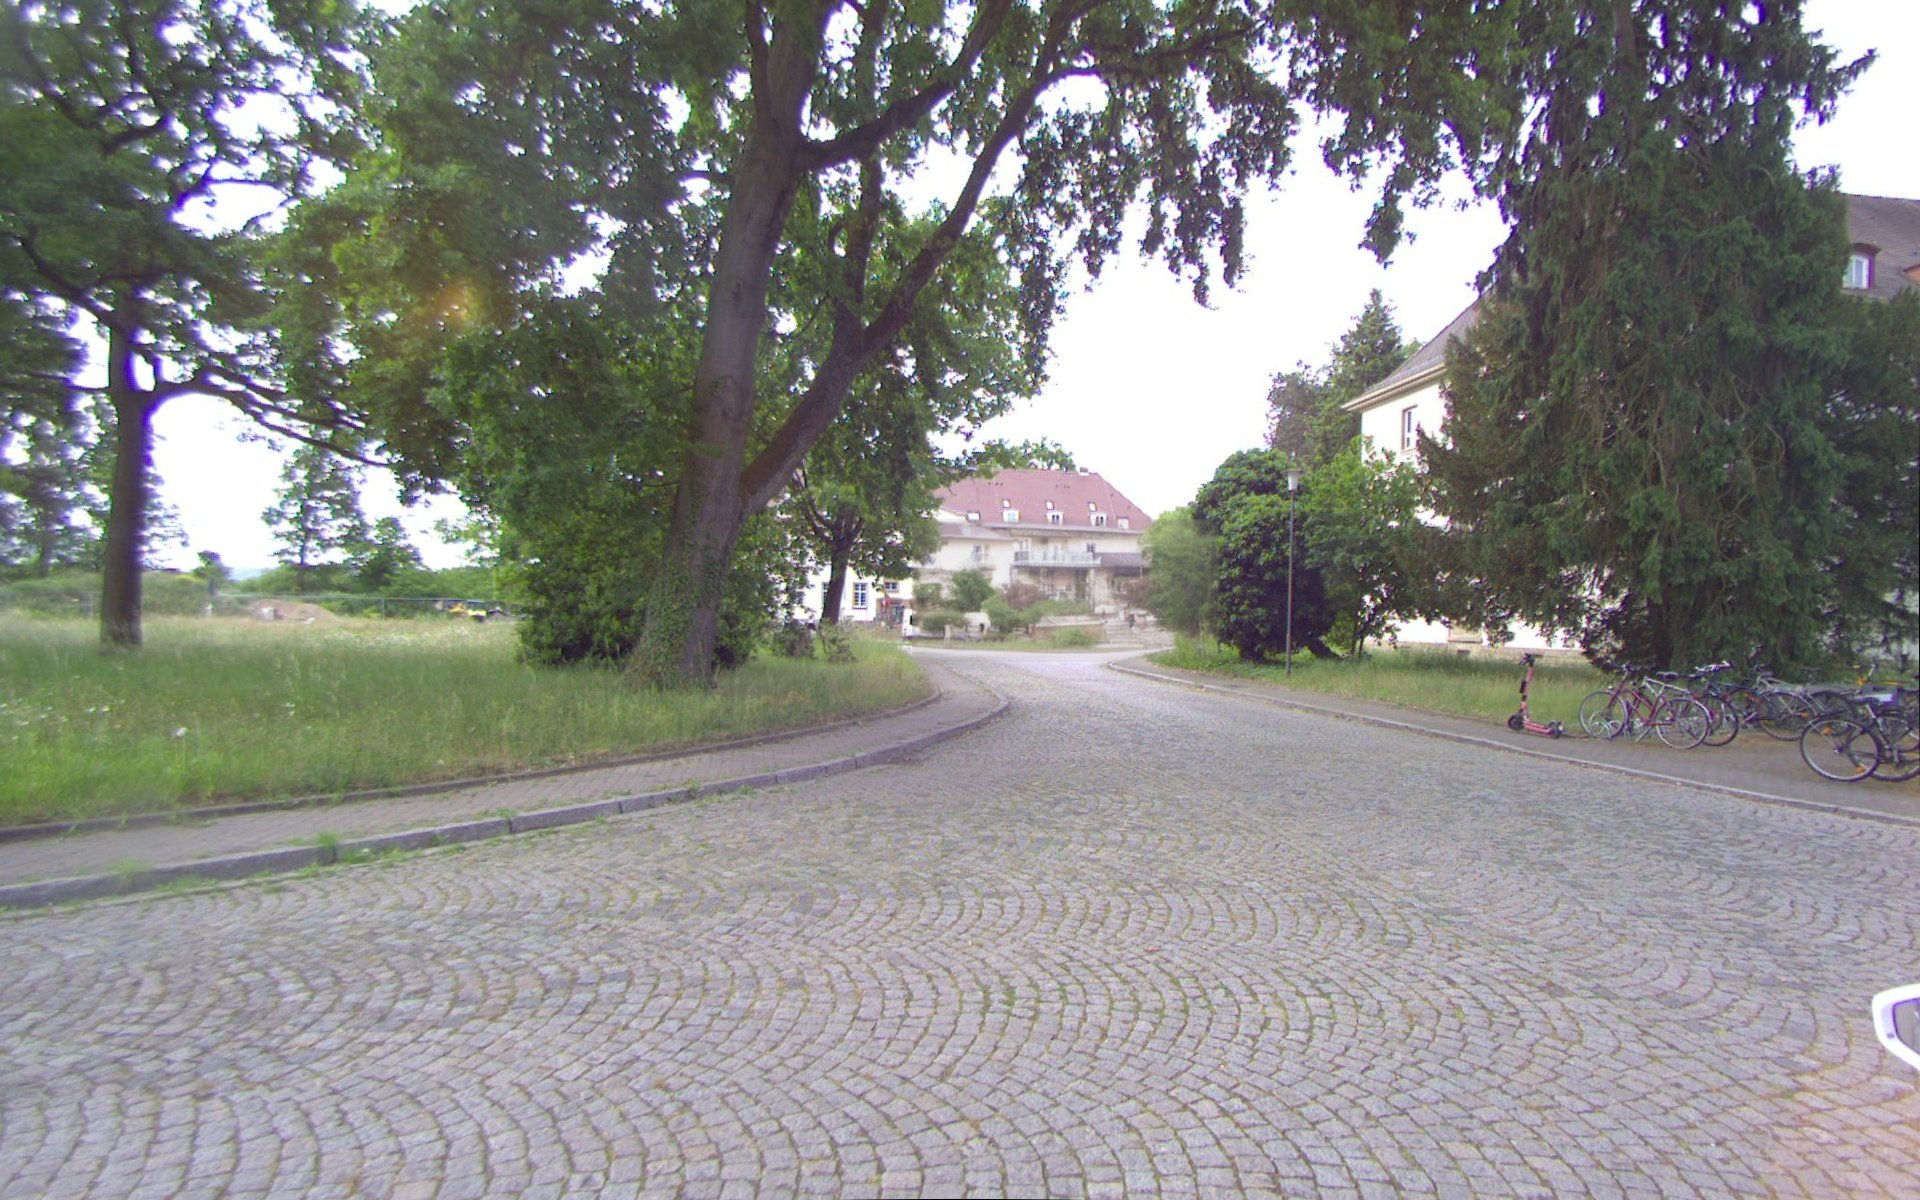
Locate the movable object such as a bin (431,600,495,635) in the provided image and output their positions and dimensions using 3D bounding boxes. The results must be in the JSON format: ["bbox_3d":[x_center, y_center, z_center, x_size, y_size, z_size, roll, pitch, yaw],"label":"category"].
[{"bbox_3d":[-38.432,1.372,77.659,5.255,2.590,1.995,0,-1,33],"label":"movable object such as a bin"}]

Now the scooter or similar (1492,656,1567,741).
[{"bbox_3d":[8.786,1.497,15.524,0.351,1.226,1.135,2,-1,-10],"label":"scooter or similar"}]

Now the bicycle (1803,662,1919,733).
[{"bbox_3d":[15.326,1.621,16.924,0.543,1.055,1.675,2,-1,-20],"label":"bicycle"}]

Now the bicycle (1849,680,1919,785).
[{"bbox_3d":[10.488,1.417,10.596,0.473,1.088,1.606,3,-3,-37],"label":"bicycle"}]

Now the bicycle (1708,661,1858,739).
[{"bbox_3d":[12.939,1.544,15.845,0.545,1.079,1.739,2,-1,-31],"label":"bicycle"}]

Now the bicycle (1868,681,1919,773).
[{"bbox_3d":[11.285,1.456,11.210,0.471,1.021,1.659,2,-3,-22],"label":"bicycle"}]

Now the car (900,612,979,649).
[{"bbox_3d":[-1.388,2.040,67.833,5.180,2.375,1.909,1,-1,-5],"label":"car"}]

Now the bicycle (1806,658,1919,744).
[{"bbox_3d":[14.064,1.517,15.342,0.542,1.186,1.749,2,-1,-14],"label":"bicycle"}]

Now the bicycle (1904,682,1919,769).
[{"bbox_3d":[11.870,1.476,11.388,0.471,1.021,1.659,2,-3,-22],"label":"bicycle"}]

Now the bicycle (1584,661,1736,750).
[{"bbox_3d":[10.153,1.494,14.646,0.544,1.129,1.794,2,-1,-24],"label":"bicycle"}]

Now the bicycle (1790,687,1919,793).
[{"bbox_3d":[9.793,1.466,10.541,0.473,1.021,1.606,3,-3,-37],"label":"bicycle"}]

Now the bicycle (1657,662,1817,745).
[{"bbox_3d":[11.726,1.528,15.220,0.611,1.079,1.810,2,-1,-31],"label":"bicycle"}]

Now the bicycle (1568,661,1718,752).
[{"bbox_3d":[9.733,1.489,14.392,0.544,1.129,1.759,2,-1,-24],"label":"bicycle"}]

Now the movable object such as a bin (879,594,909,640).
[{"bbox_3d":[-5.711,1.491,86.317,1.964,3.821,5.309,2,-1,-10],"label":"movable object such as a bin"}]
